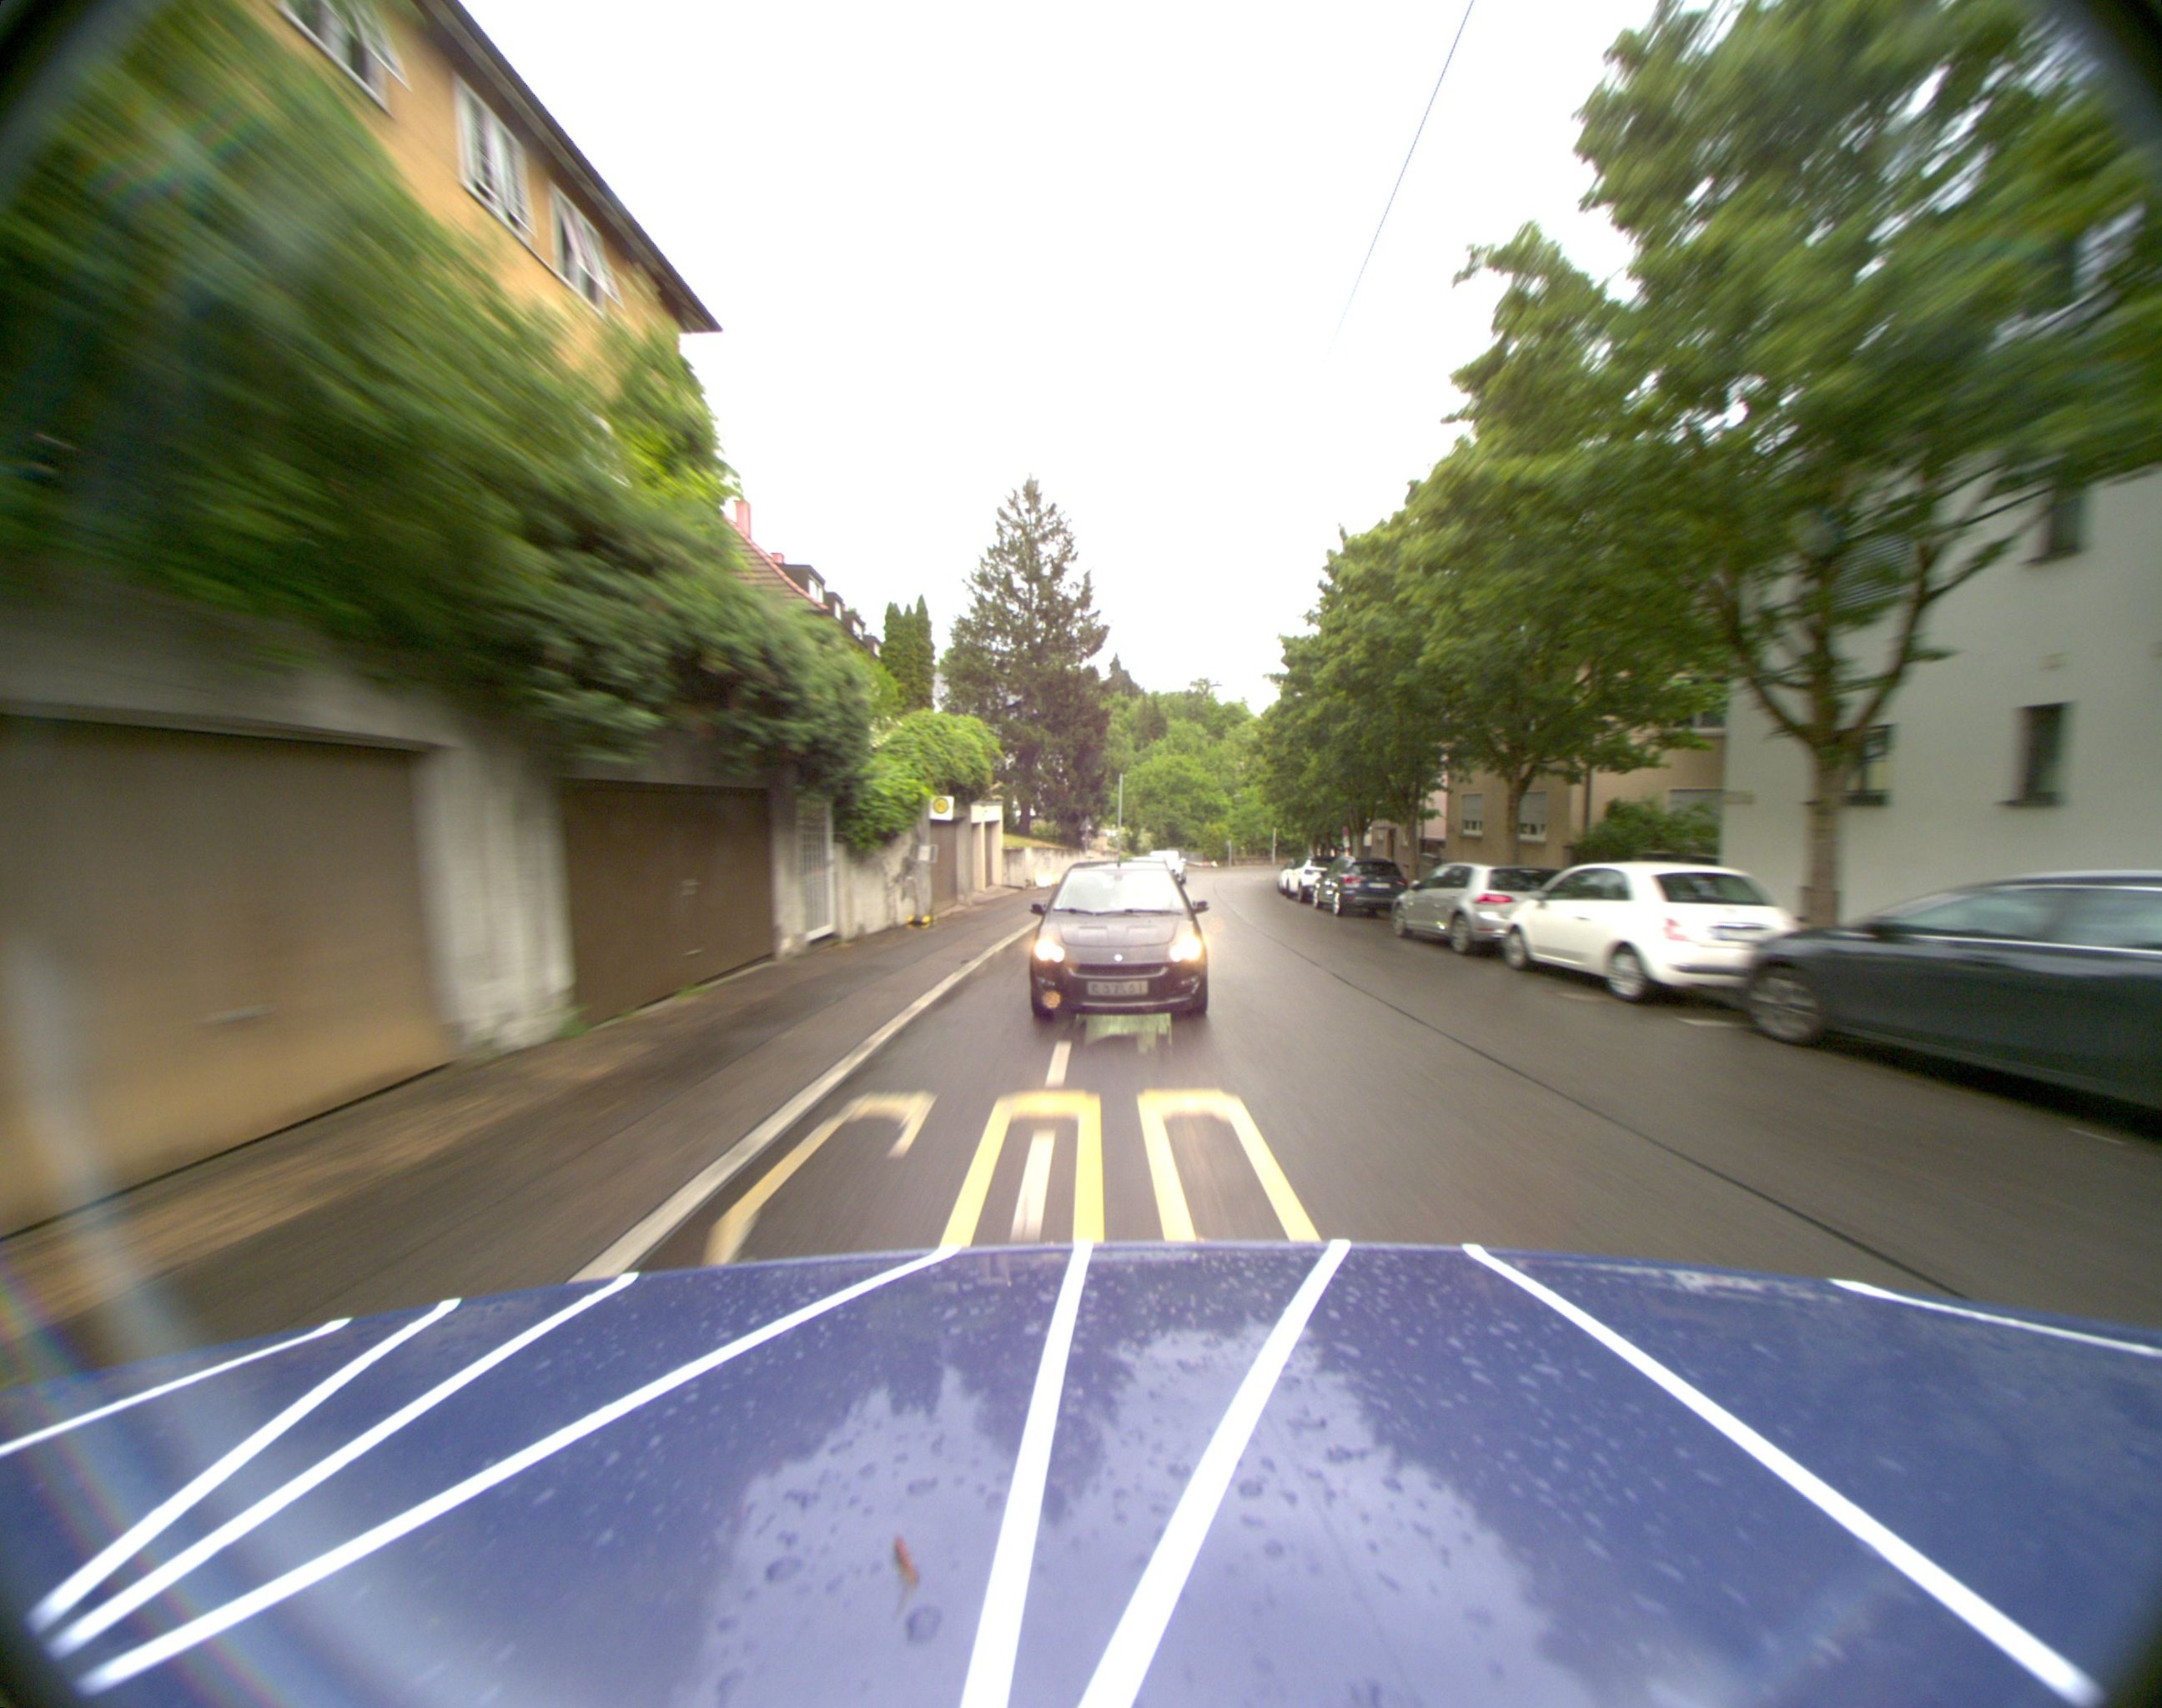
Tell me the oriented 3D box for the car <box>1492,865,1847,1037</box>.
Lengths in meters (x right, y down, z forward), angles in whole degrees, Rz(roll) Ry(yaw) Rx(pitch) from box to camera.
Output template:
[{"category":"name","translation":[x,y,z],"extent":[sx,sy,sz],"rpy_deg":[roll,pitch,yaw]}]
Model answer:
[{"category":"car","translation":[6.493,0.942,8.921],"extent":[1.577,1.480,3.471],"rpy_deg":[4,0,5]}]

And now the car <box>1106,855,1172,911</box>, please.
[{"category":"car","translation":[1.707,0.802,23.302],"extent":[1.807,1.480,4.017],"rpy_deg":[2,0,2]}]

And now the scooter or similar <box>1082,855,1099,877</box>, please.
[{"category":"scooter or similar","translation":[0.497,0.639,40.557],"extent":[0.599,1.126,1.371],"rpy_deg":[2,1,12]}]

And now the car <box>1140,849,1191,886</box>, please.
[{"category":"car","translation":[4.194,0.604,37.142],"extent":[2.010,1.652,4.449],"rpy_deg":[2,0,11]}]

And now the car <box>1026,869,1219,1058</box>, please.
[{"category":"car","translation":[0.469,0.952,8.162],"extent":[1.577,1.444,3.588],"rpy_deg":[2,0,4]}]

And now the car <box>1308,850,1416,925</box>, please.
[{"category":"car","translation":[7.350,0.803,20.275],"extent":[1.621,1.649,3.925],"rpy_deg":[4,1,5]}]

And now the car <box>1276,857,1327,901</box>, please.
[{"category":"car","translation":[8.829,0.951,30.661],"extent":[1.620,1.463,3.672],"rpy_deg":[6,2,12]}]

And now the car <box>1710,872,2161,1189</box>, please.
[{"category":"car","translation":[6.362,0.987,4.494],"extent":[1.668,1.480,4.475],"rpy_deg":[4,1,4]}]

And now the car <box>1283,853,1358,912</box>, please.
[{"category":"car","translation":[8.032,0.882,25.803],"extent":[1.595,1.649,3.925],"rpy_deg":[6,2,7]}]

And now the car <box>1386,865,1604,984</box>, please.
[{"category":"car","translation":[6.679,1.026,12.803],"extent":[1.621,1.462,3.972],"rpy_deg":[3,1,4]}]
